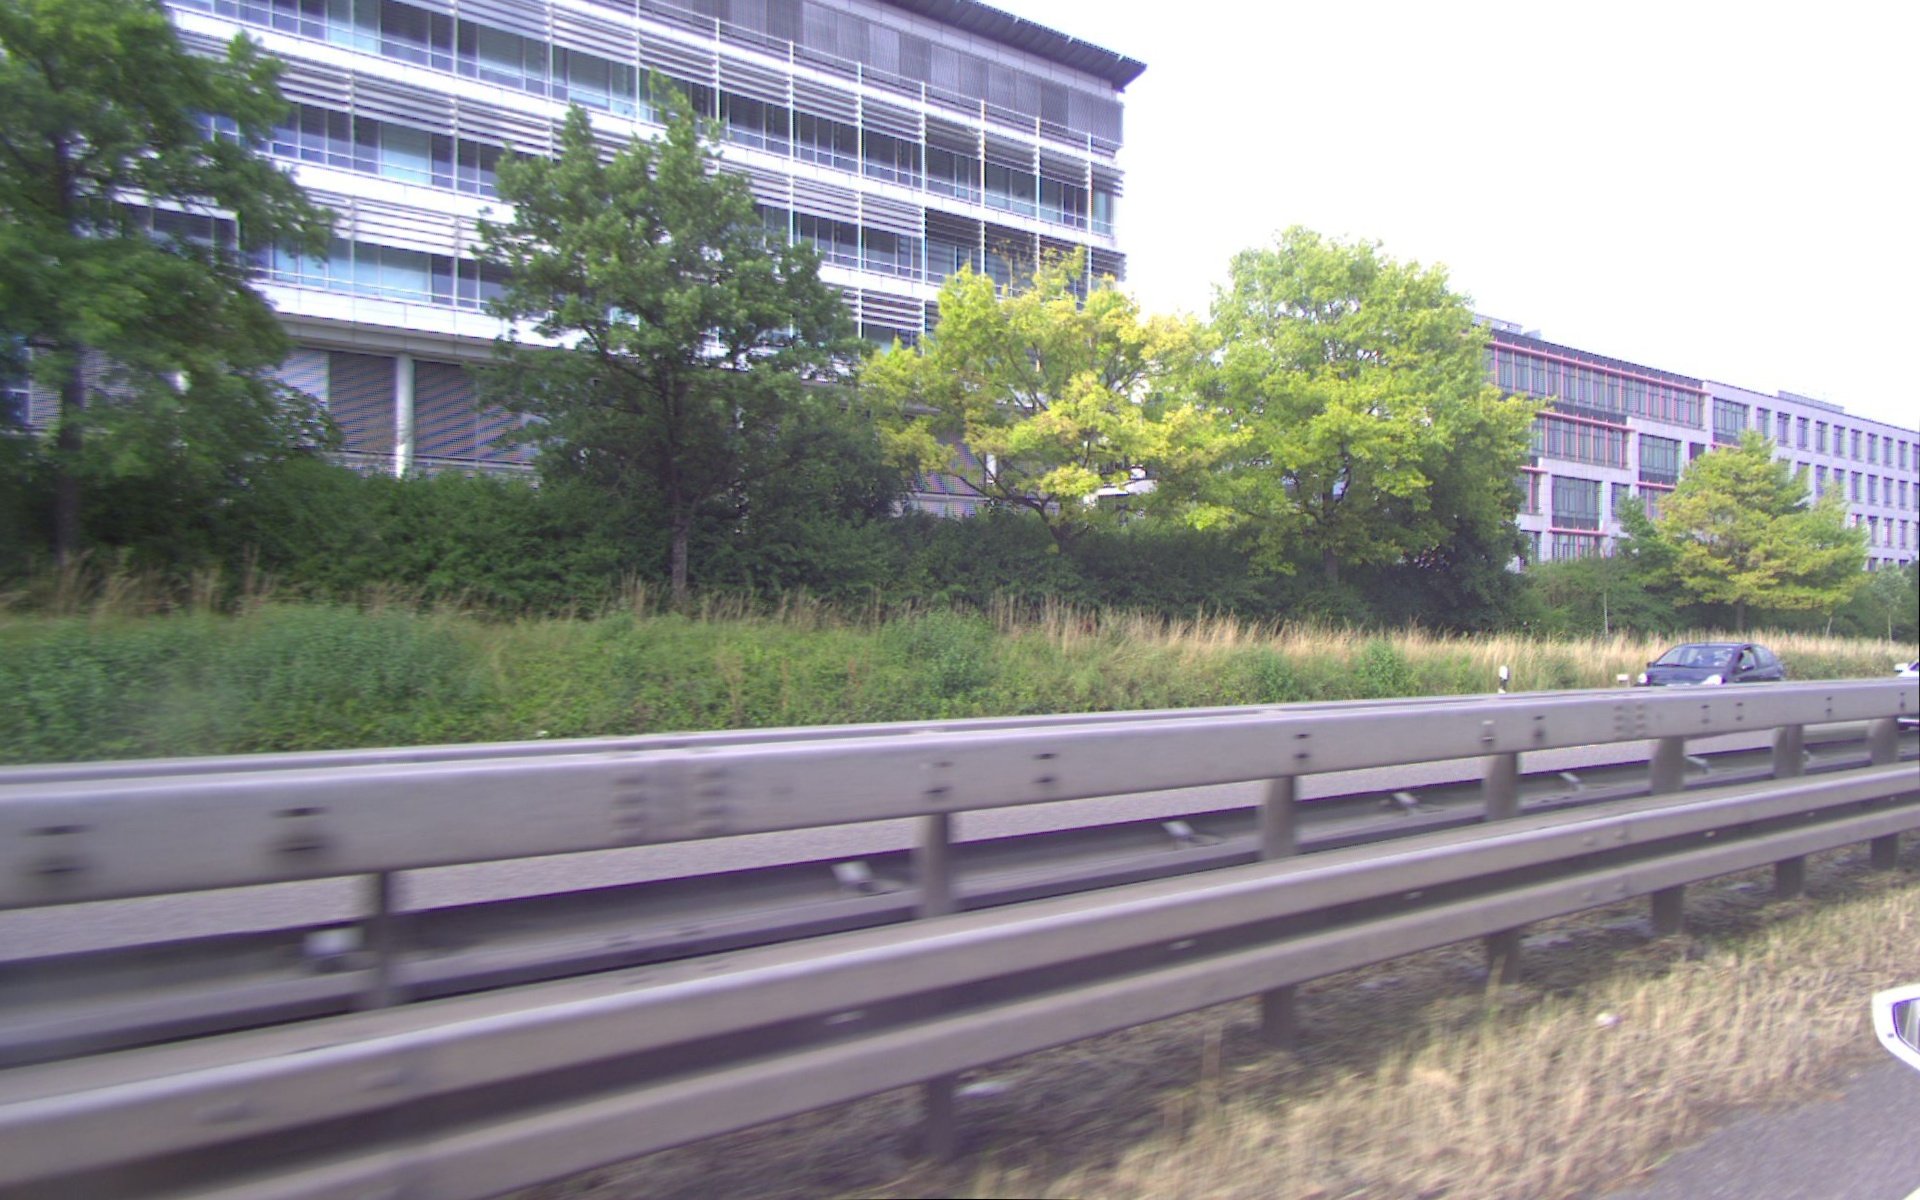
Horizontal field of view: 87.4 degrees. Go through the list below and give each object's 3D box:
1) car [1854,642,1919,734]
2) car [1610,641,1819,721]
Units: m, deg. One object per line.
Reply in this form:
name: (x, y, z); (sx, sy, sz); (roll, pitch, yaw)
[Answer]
car: (16.507, 1.370, 16.222); (4.514, 1.397, 1.826); (1, -3, -31)
car: (15.248, 1.558, 20.245); (4.512, 1.441, 1.749); (1, -2, -30)
